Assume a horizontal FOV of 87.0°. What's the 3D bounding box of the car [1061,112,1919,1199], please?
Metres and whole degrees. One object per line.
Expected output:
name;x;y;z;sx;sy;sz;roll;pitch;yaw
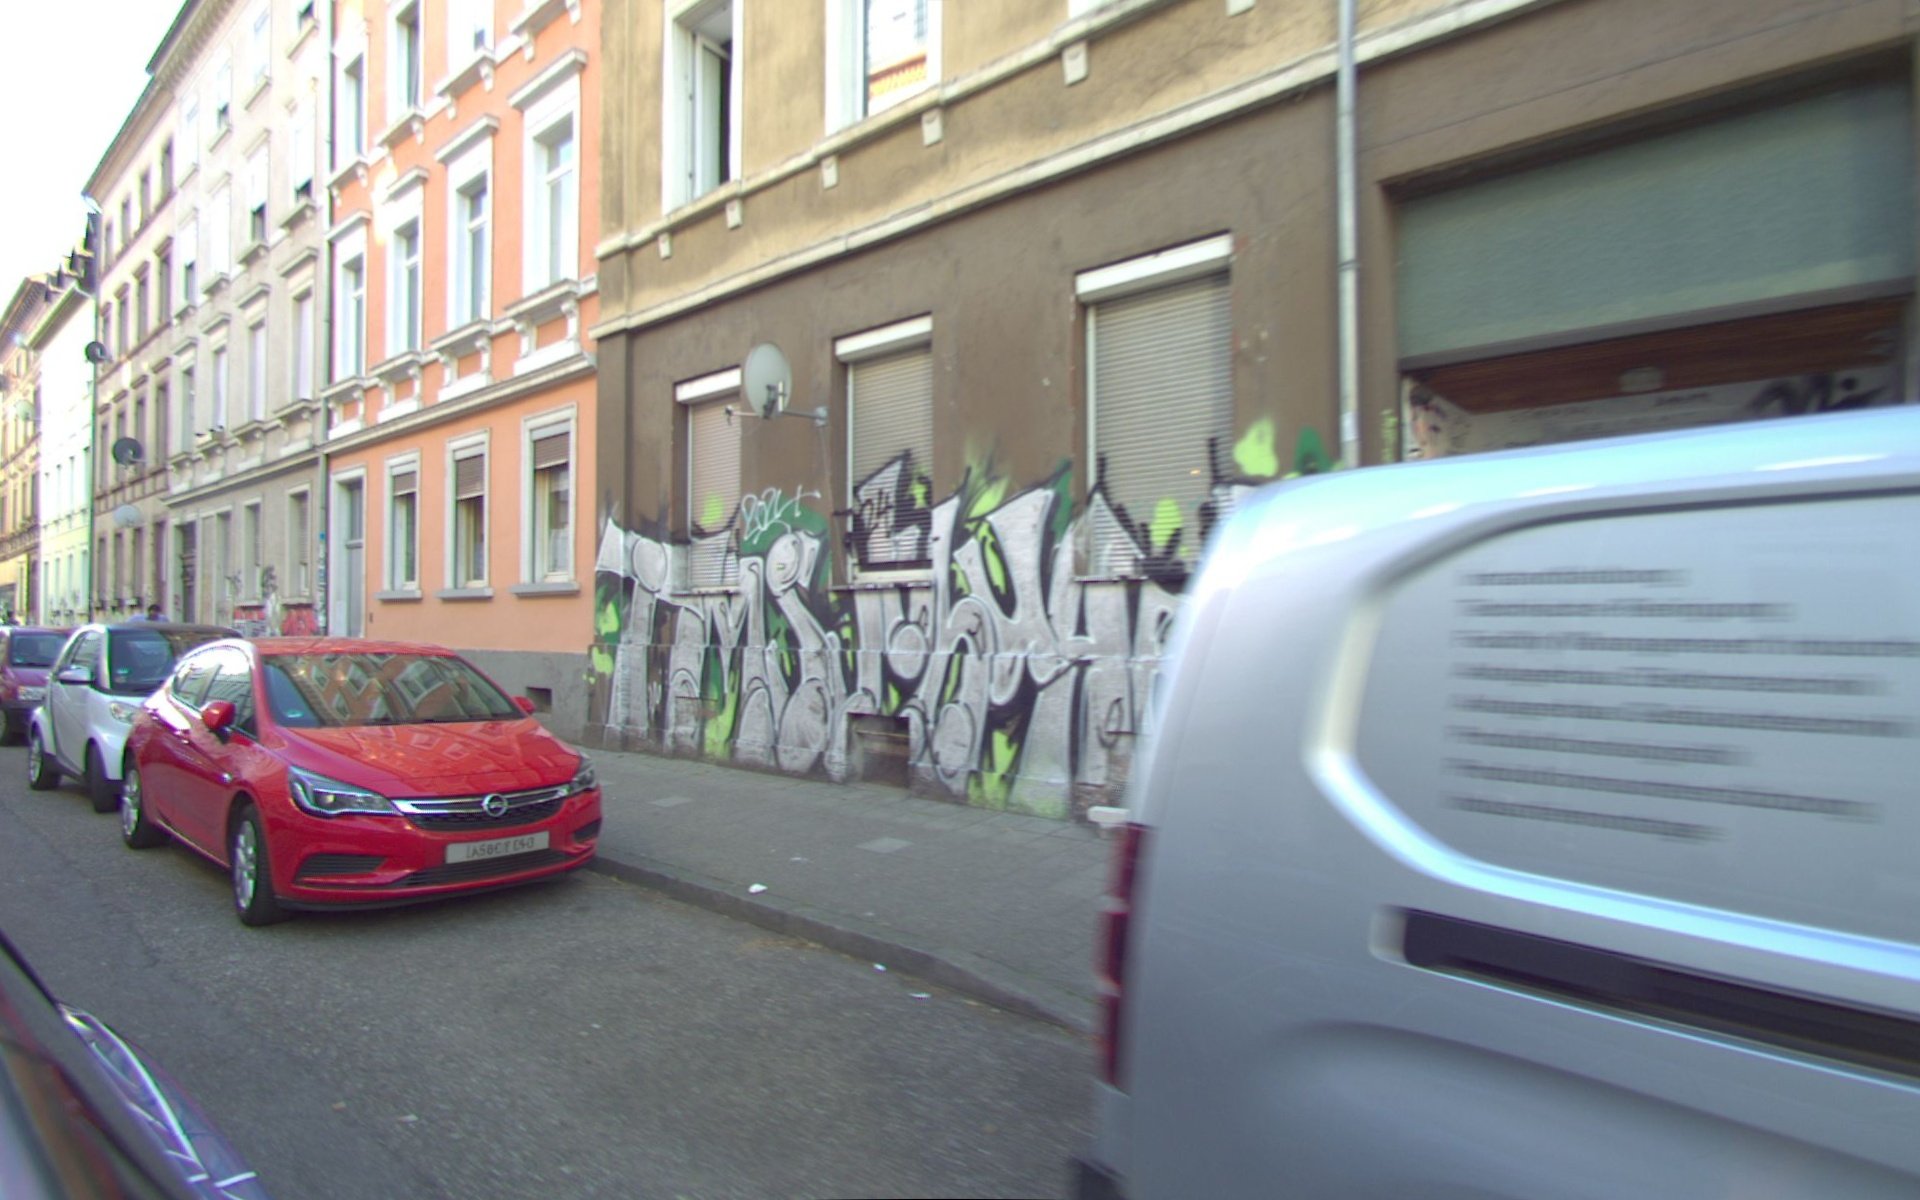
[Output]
car;2.394;0.528;0.676;4.517;1.925;1.661;-1;-5;41

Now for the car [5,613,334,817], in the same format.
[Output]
car;-7.327;0.941;9.339;2.955;1.561;1.663;-1;-3;37

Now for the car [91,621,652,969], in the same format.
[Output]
car;-3.877;0.915;6.353;4.199;1.485;1.662;-1;-4;40

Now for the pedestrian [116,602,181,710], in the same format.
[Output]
pedestrian;-14.266;0.958;17.796;0.594;1.844;0.780;-2;-1;41

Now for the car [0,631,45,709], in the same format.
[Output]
car;-19.778;1.366;20.512;1.660;1.474;3.862;1;-2;-45

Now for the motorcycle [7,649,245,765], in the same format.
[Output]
motorcycle;-9.739;1.202;11.943;0.784;1.137;2.068;-1;0;19

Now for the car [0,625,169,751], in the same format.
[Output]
car;-12.417;1.106;13.911;3.608;1.504;1.662;-2;-2;39

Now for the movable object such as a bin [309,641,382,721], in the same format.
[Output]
movable object such as a bin;-8.737;1.133;14.396;0.768;1.057;0.663;-2;0;-41

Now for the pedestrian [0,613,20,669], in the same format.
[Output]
pedestrian;-31.788;1.348;33.709;0.594;1.844;0.618;-2;-1;42

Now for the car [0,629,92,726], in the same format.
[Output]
car;-16.149;1.233;17.097;4.311;1.474;1.661;-1;-2;41

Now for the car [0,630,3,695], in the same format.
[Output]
car;-23.950;1.453;23.856;3.858;1.474;1.661;-1;-2;41
